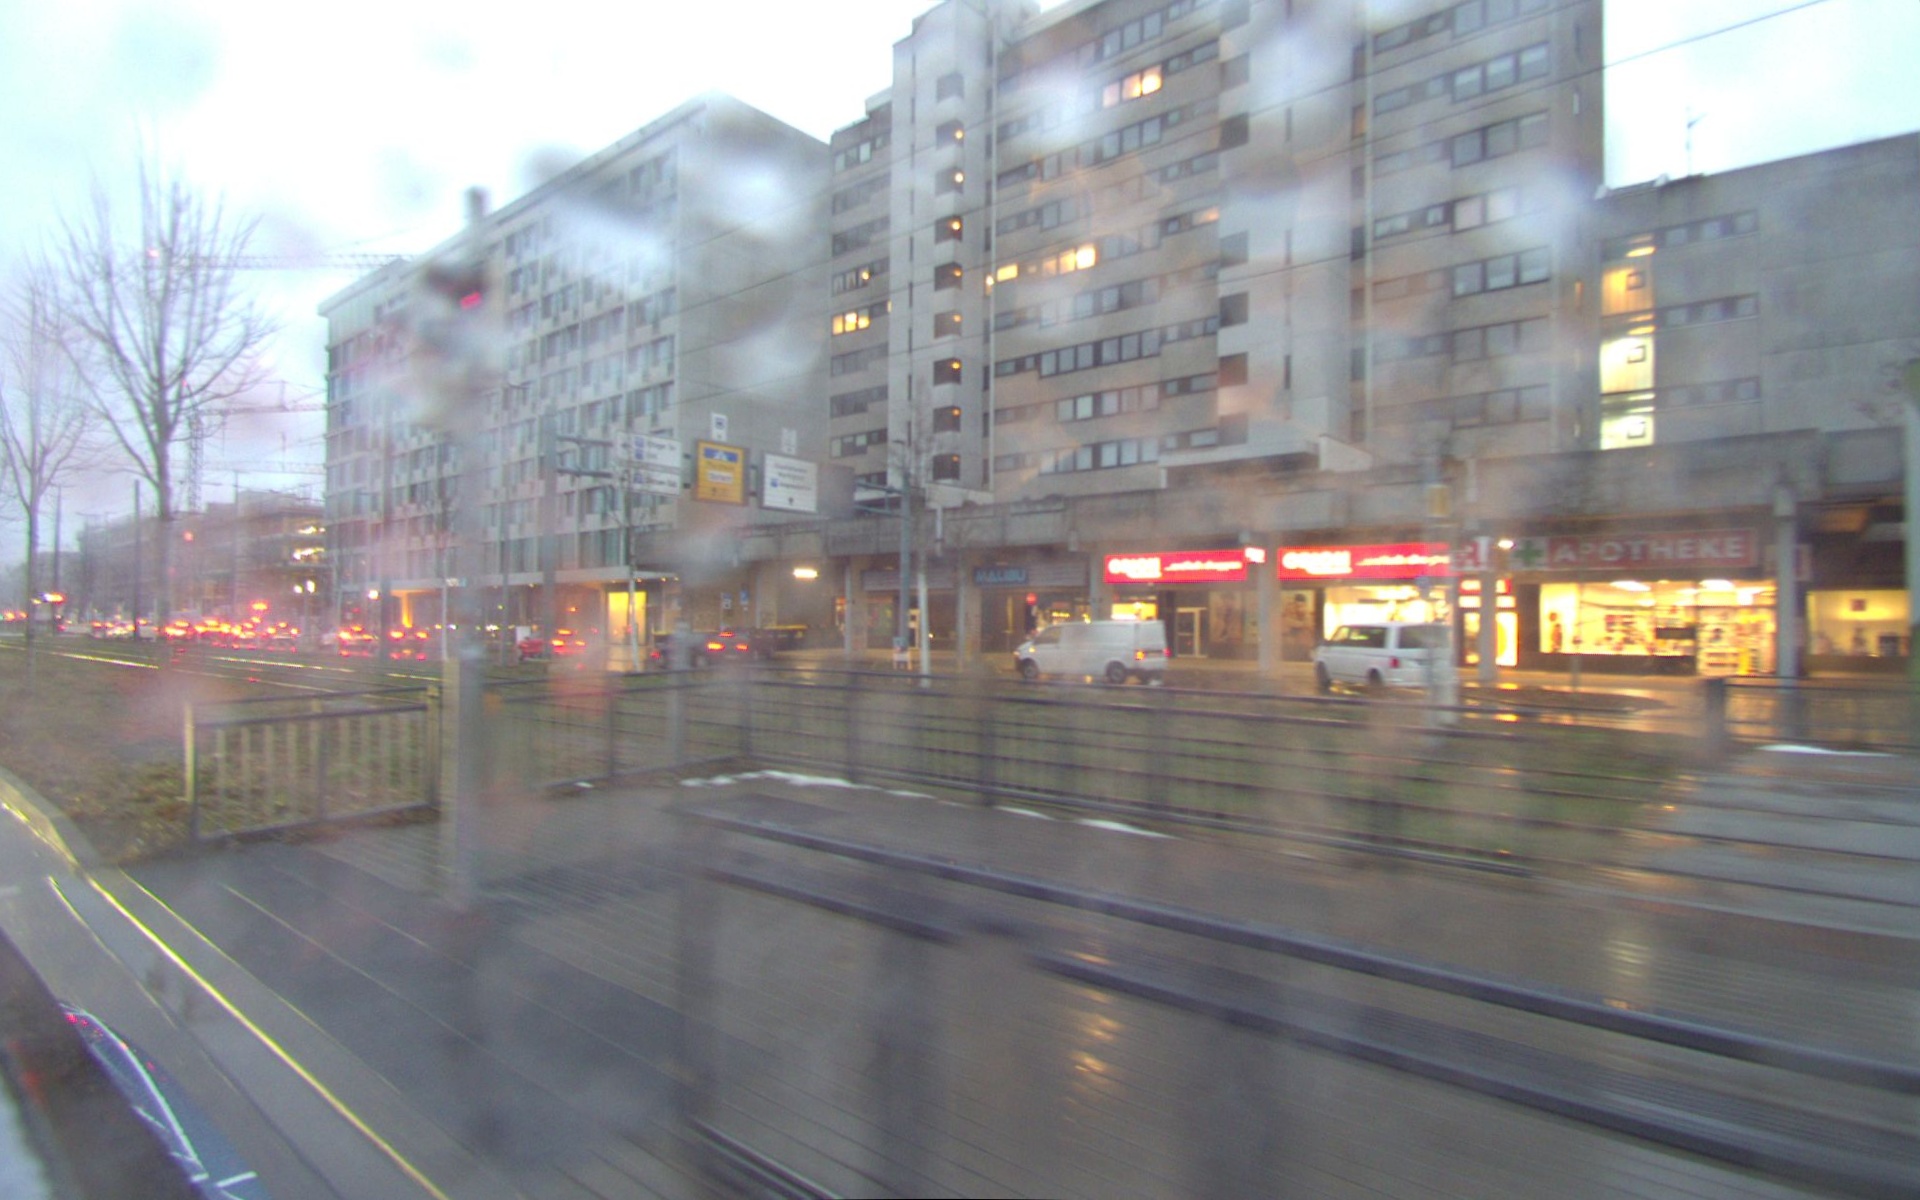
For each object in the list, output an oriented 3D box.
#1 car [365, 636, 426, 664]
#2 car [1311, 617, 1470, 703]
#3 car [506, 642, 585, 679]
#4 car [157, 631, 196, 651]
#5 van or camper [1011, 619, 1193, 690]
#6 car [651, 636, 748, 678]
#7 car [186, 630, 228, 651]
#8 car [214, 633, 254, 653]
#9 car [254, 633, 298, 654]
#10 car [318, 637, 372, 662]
[{"bbox_3d":[-32.010,2.812,57.382,3.870,1.460,1.732,-1,-2,40],"label":"car"},{"bbox_3d":[11.595,1.539,27.662,1.969,2.029,4.580,0,0,-7],"label":"car"},{"bbox_3d":[-19.030,2.725,46.391,3.887,1.523,1.732,-1,-2,40],"label":"car"},{"bbox_3d":[-60.910,3.180,78.636,3.870,1.460,1.576,-1,-2,40],"label":"car"},{"bbox_3d":[4.459,1.680,32.509,5.651,2.113,1.973,-2,-2,41],"label":"van or camper"},{"bbox_3d":[-9.818,2.107,38.061,3.764,1.460,1.656,-1,-2,40],"label":"car"},{"bbox_3d":[-54.741,2.937,73.581,3.870,1.460,1.576,-1,-2,40],"label":"car"},{"bbox_3d":[-55.644,3.248,77.526,3.870,1.460,1.576,-1,-2,40],"label":"car"},{"bbox_3d":[-49.371,3.133,73.040,3.870,1.460,1.576,-1,-2,40],"label":"car"},{"bbox_3d":[-38.473,3.080,63.265,3.870,1.460,1.732,-1,-2,40],"label":"car"}]
